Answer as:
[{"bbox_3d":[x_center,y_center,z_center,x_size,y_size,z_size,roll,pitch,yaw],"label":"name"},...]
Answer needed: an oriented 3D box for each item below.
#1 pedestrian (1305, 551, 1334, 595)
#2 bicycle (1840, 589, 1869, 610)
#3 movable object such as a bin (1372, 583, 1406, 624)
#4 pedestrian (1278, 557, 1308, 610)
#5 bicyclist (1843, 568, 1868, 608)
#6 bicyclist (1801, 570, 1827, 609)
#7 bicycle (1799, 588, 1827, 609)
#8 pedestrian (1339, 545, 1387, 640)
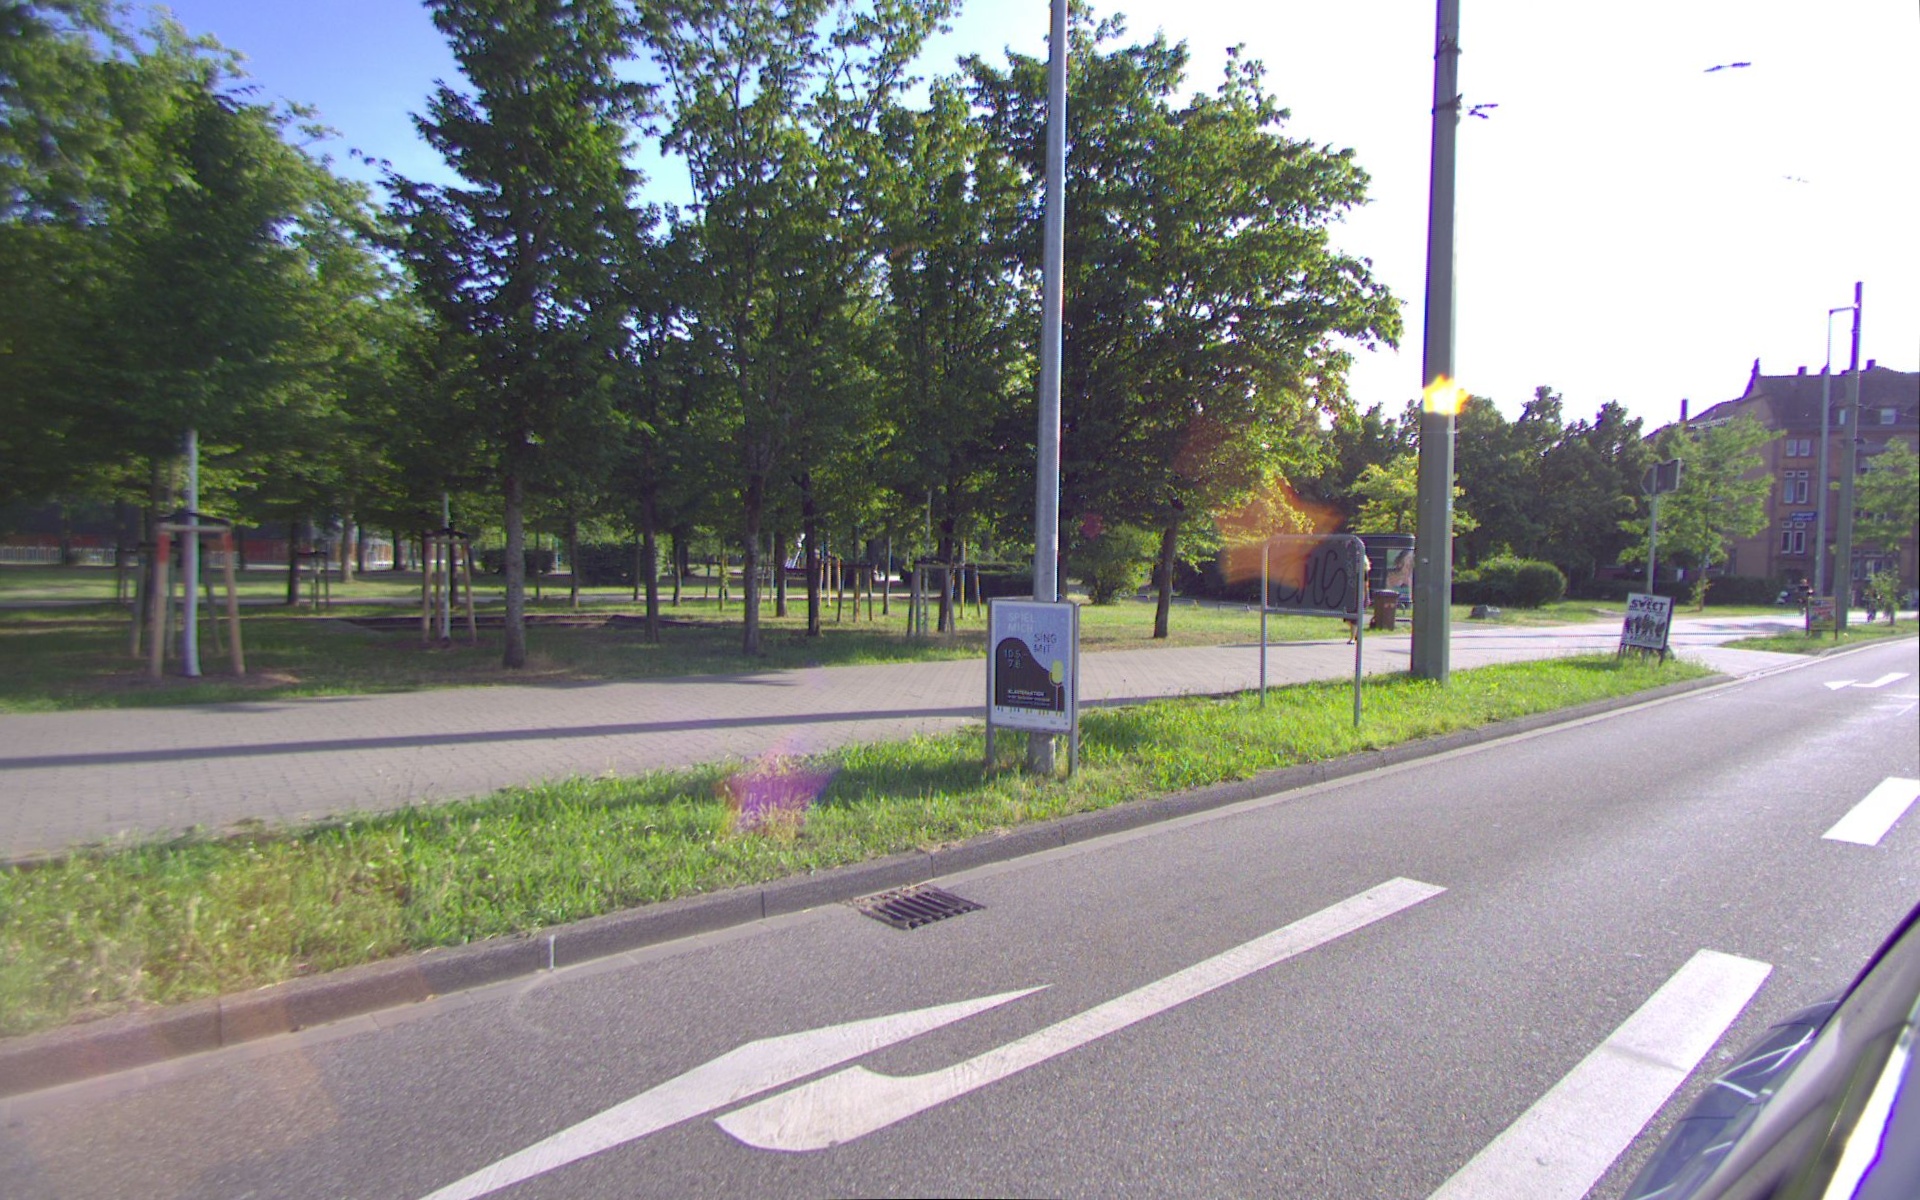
[{"bbox_3d":[17.900,-1.349,50.401,0.873,2.184,0.914,0,2,-28],"label":"pedestrian"},{"bbox_3d":[41.057,-0.027,46.433,2.058,0.929,0.739,-1,3,-41],"label":"bicycle"},{"bbox_3d":[9.791,0.079,23.114,0.514,0.915,0.504,1,2,-2],"label":"movable object such as a bin"},{"bbox_3d":[10.588,-0.521,32.211,0.609,1.671,0.664,1,2,-16],"label":"pedestrian"},{"bbox_3d":[41.084,-0.574,46.427,0.998,1.795,0.730,0,2,-42],"label":"bicyclist"},{"bbox_3d":[40.029,-0.485,47.433,1.099,1.795,0.753,0,2,-42],"label":"bicyclist"},{"bbox_3d":[40.075,-0.094,47.527,2.059,0.929,0.739,-1,3,-42],"label":"bicycle"},{"bbox_3d":[7.520,-0.151,18.870,0.651,1.721,0.558,0,2,-42],"label":"pedestrian"}]
